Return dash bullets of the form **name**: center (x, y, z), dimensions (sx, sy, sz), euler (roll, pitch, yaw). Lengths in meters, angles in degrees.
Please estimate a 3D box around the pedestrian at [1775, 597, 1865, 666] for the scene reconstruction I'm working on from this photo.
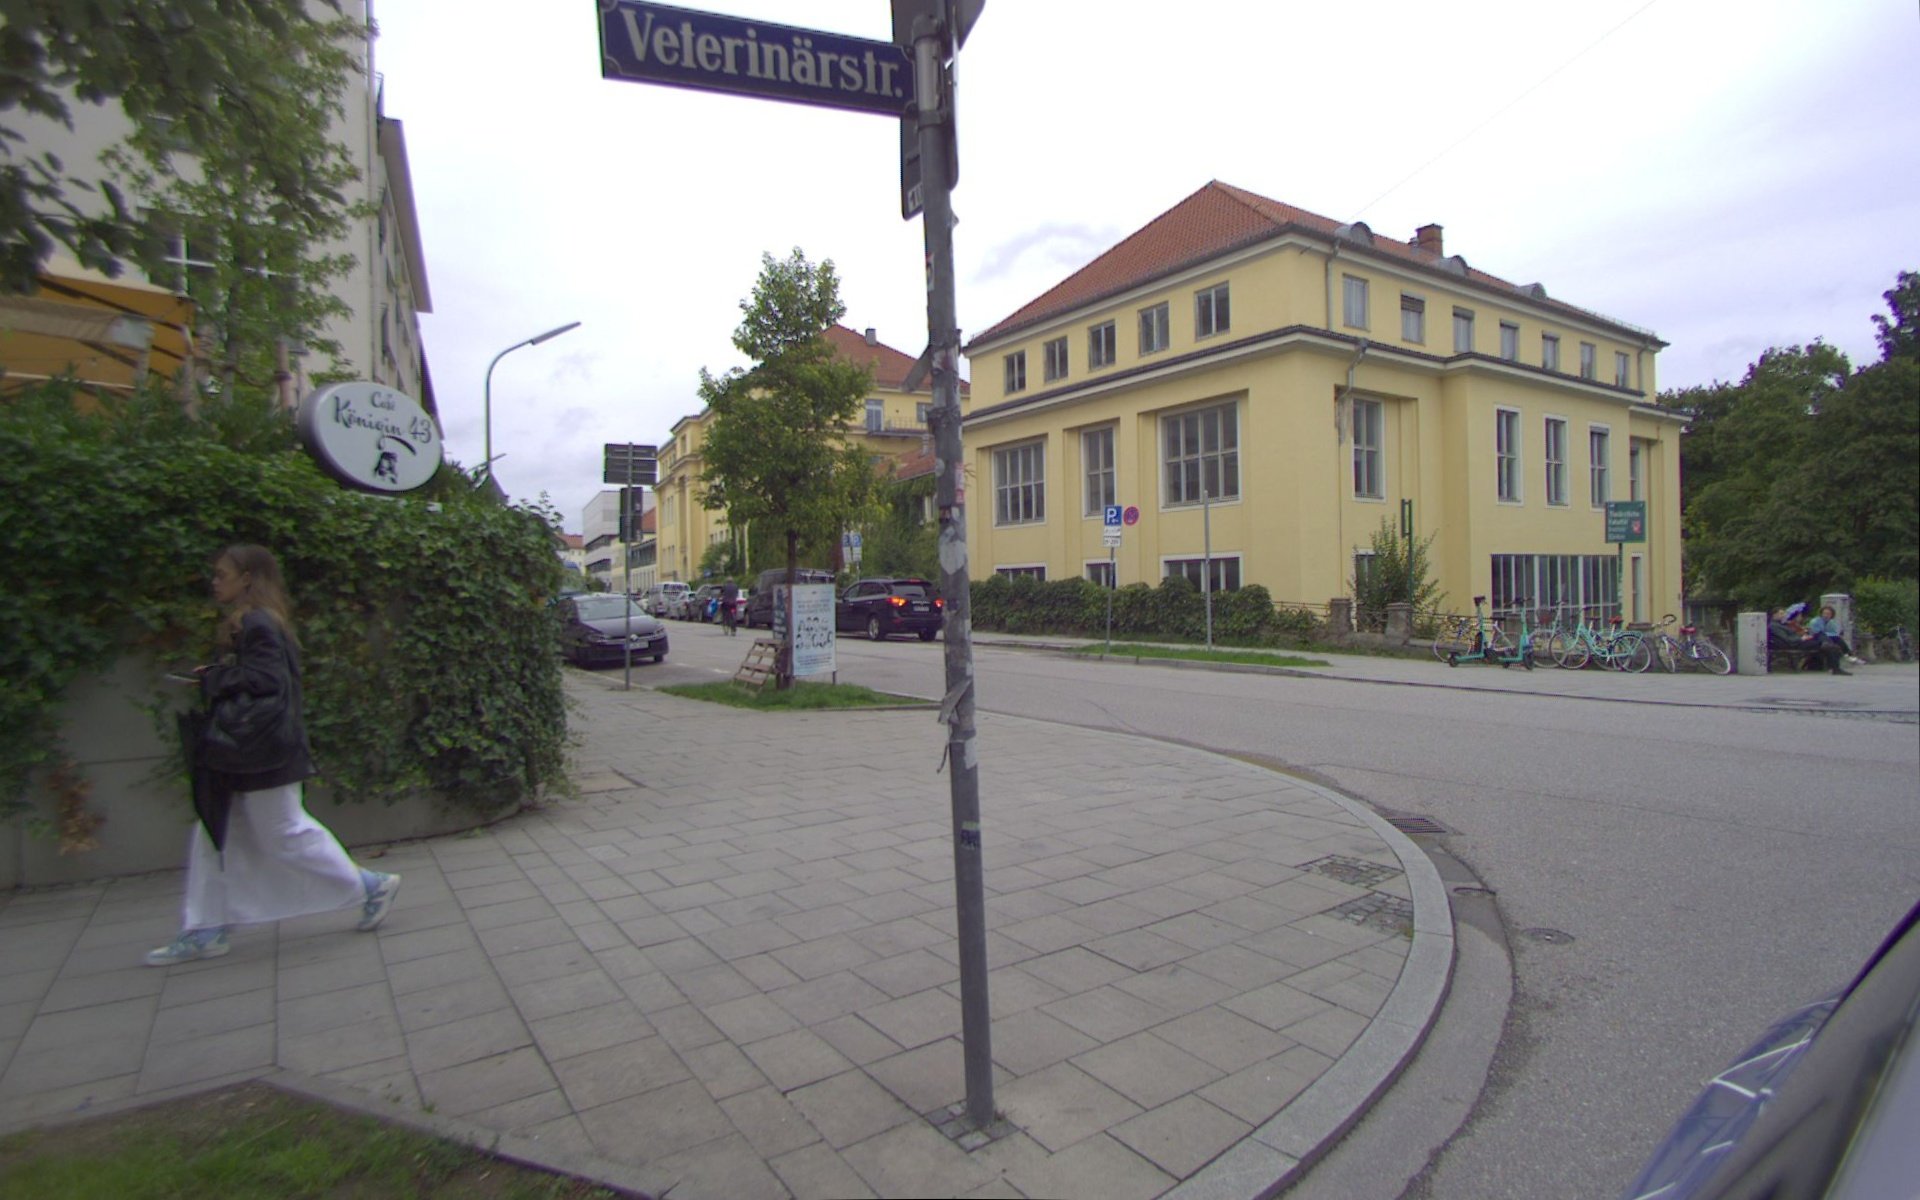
- **pedestrian**: center (16.223, 0.597, 19.097), dimensions (0.629, 1.264, 1.213), euler (4, -4, -44)

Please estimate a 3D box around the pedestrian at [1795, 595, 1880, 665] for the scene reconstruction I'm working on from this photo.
- **pedestrian**: center (16.995, 0.585, 19.608), dimensions (0.629, 1.310, 1.174), euler (4, -4, -44)

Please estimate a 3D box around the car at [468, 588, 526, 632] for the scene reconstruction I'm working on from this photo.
- **car**: center (-19.488, 0.396, 42.482), dimensions (1.922, 1.580, 4.618), euler (-5, 2, -27)

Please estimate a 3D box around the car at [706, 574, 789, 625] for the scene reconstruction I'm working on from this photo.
- **car**: center (-8.359, -0.027, 39.502), dimensions (1.936, 1.859, 4.688), euler (1, 0, -28)

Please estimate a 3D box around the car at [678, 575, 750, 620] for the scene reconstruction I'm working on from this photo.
- **car**: center (-10.795, -0.091, 44.190), dimensions (1.936, 1.859, 4.688), euler (1, 0, -28)

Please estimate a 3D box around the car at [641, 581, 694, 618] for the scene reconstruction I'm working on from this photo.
- **car**: center (-15.471, -0.031, 53.368), dimensions (1.936, 1.859, 4.690), euler (1, 0, -25)

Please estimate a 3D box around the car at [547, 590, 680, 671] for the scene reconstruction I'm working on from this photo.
- **car**: center (-7.426, 0.568, 21.464), dimensions (1.747, 1.412, 3.806), euler (-6, 3, -32)

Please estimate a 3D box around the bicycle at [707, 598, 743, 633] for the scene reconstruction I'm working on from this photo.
- **bicycle**: center (-6.999, 0.448, 30.120), dimensions (0.610, 1.030, 1.720), euler (1, 0, -28)

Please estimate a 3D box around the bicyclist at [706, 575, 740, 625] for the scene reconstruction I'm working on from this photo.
- **bicyclist**: center (-7.085, -0.001, 30.257), dimensions (0.825, 1.476, 0.745), euler (1, -1, -28)

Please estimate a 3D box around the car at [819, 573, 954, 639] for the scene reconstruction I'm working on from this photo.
- **car**: center (-2.193, 0.154, 28.831), dimensions (1.899, 1.730, 4.628), euler (0, 0, -33)

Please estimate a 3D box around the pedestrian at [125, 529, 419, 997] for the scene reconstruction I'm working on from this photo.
- **pedestrian**: center (-2.745, 0.555, 4.084), dimensions (0.864, 1.643, 0.707), euler (-2, 1, -36)

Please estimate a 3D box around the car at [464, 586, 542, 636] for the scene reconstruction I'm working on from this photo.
- **car**: center (-17.003, 0.385, 37.511), dimensions (1.947, 1.580, 4.716), euler (-5, 2, -31)

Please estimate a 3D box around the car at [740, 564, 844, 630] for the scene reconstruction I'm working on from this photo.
- **car**: center (-5.850, -0.103, 34.703), dimensions (1.937, 2.098, 4.686), euler (1, 0, -31)

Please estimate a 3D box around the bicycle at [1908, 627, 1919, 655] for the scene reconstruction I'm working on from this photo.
- **bicycle**: center (24.174, 1.039, 25.396), dimensions (0.890, 0.684, 0.216), euler (2, 0, -23)

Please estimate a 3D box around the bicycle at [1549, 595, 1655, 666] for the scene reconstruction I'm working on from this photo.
- **bicycle**: center (11.449, 0.532, 18.072), dimensions (1.626, 1.206, 0.202), euler (2, 0, 8)

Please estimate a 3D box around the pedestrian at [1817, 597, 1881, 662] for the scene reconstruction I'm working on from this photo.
- **pedestrian**: center (17.531, 0.590, 19.957), dimensions (0.541, 1.251, 0.885), euler (4, -4, -44)

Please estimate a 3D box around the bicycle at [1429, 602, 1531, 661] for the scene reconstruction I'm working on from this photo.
- **bicycle**: center (9.597, 0.566, 18.726), dimensions (1.642, 1.006, 0.246), euler (2, 0, 33)

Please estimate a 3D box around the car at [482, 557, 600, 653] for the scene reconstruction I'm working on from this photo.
- **car**: center (-11.136, 0.053, 26.697), dimensions (1.947, 2.195, 4.717), euler (-5, 4, -32)

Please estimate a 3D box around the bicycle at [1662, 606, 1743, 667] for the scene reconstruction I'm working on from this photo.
- **bicycle**: center (13.360, 0.665, 18.204), dimensions (1.619, 1.051, 0.308), euler (2, 0, -20)

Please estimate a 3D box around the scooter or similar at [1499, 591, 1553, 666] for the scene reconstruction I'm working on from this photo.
- **scooter or similar**: center (9.646, 0.472, 17.276), dimensions (0.317, 1.228, 1.117), euler (1, 0, 2)

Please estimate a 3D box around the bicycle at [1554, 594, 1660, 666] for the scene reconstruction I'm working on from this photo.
- **bicycle**: center (11.413, 0.525, 17.877), dimensions (1.626, 1.213, 0.169), euler (2, 0, 8)

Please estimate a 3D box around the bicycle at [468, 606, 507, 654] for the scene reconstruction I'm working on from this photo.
- **bicycle**: center (-11.144, 0.673, 23.823), dimensions (0.478, 1.066, 2.183), euler (0, 0, -34)

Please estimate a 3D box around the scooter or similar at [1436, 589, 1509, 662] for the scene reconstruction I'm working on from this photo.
- **scooter or similar**: center (9.065, 0.445, 17.904), dimensions (1.361, 1.264, 0.397), euler (1, -1, -26)

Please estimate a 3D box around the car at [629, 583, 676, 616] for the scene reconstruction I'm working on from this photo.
- **car**: center (-17.918, -0.019, 58.866), dimensions (1.936, 1.859, 4.690), euler (1, 0, -25)
